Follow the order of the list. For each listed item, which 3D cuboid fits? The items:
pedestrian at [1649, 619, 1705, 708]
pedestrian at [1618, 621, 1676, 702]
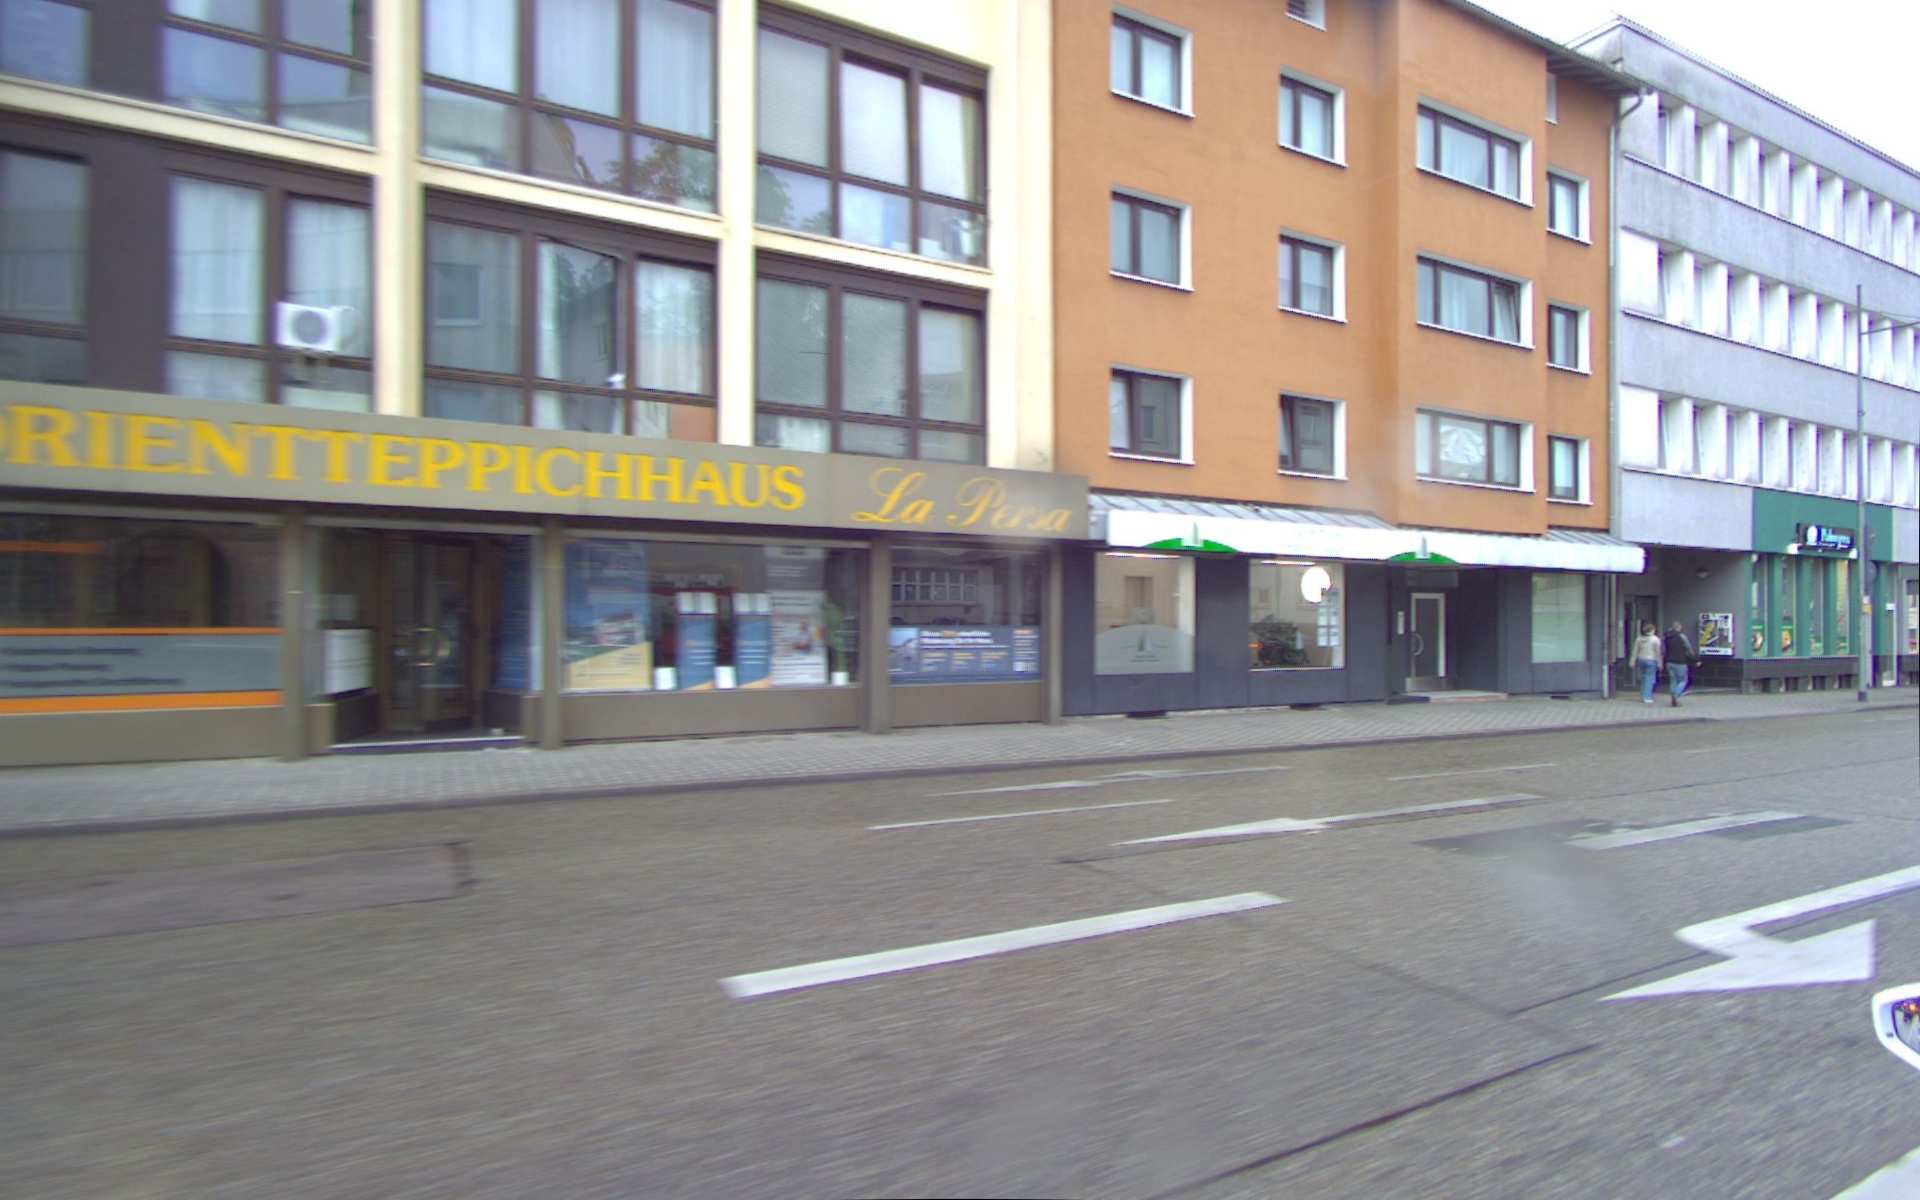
[{"bbox_3d":[15.333,1.346,21.483,0.816,1.812,0.572,1,3,-28],"label":"pedestrian"},{"bbox_3d":[15.123,1.348,22.112,0.897,1.698,0.627,1,3,-29],"label":"pedestrian"}]
